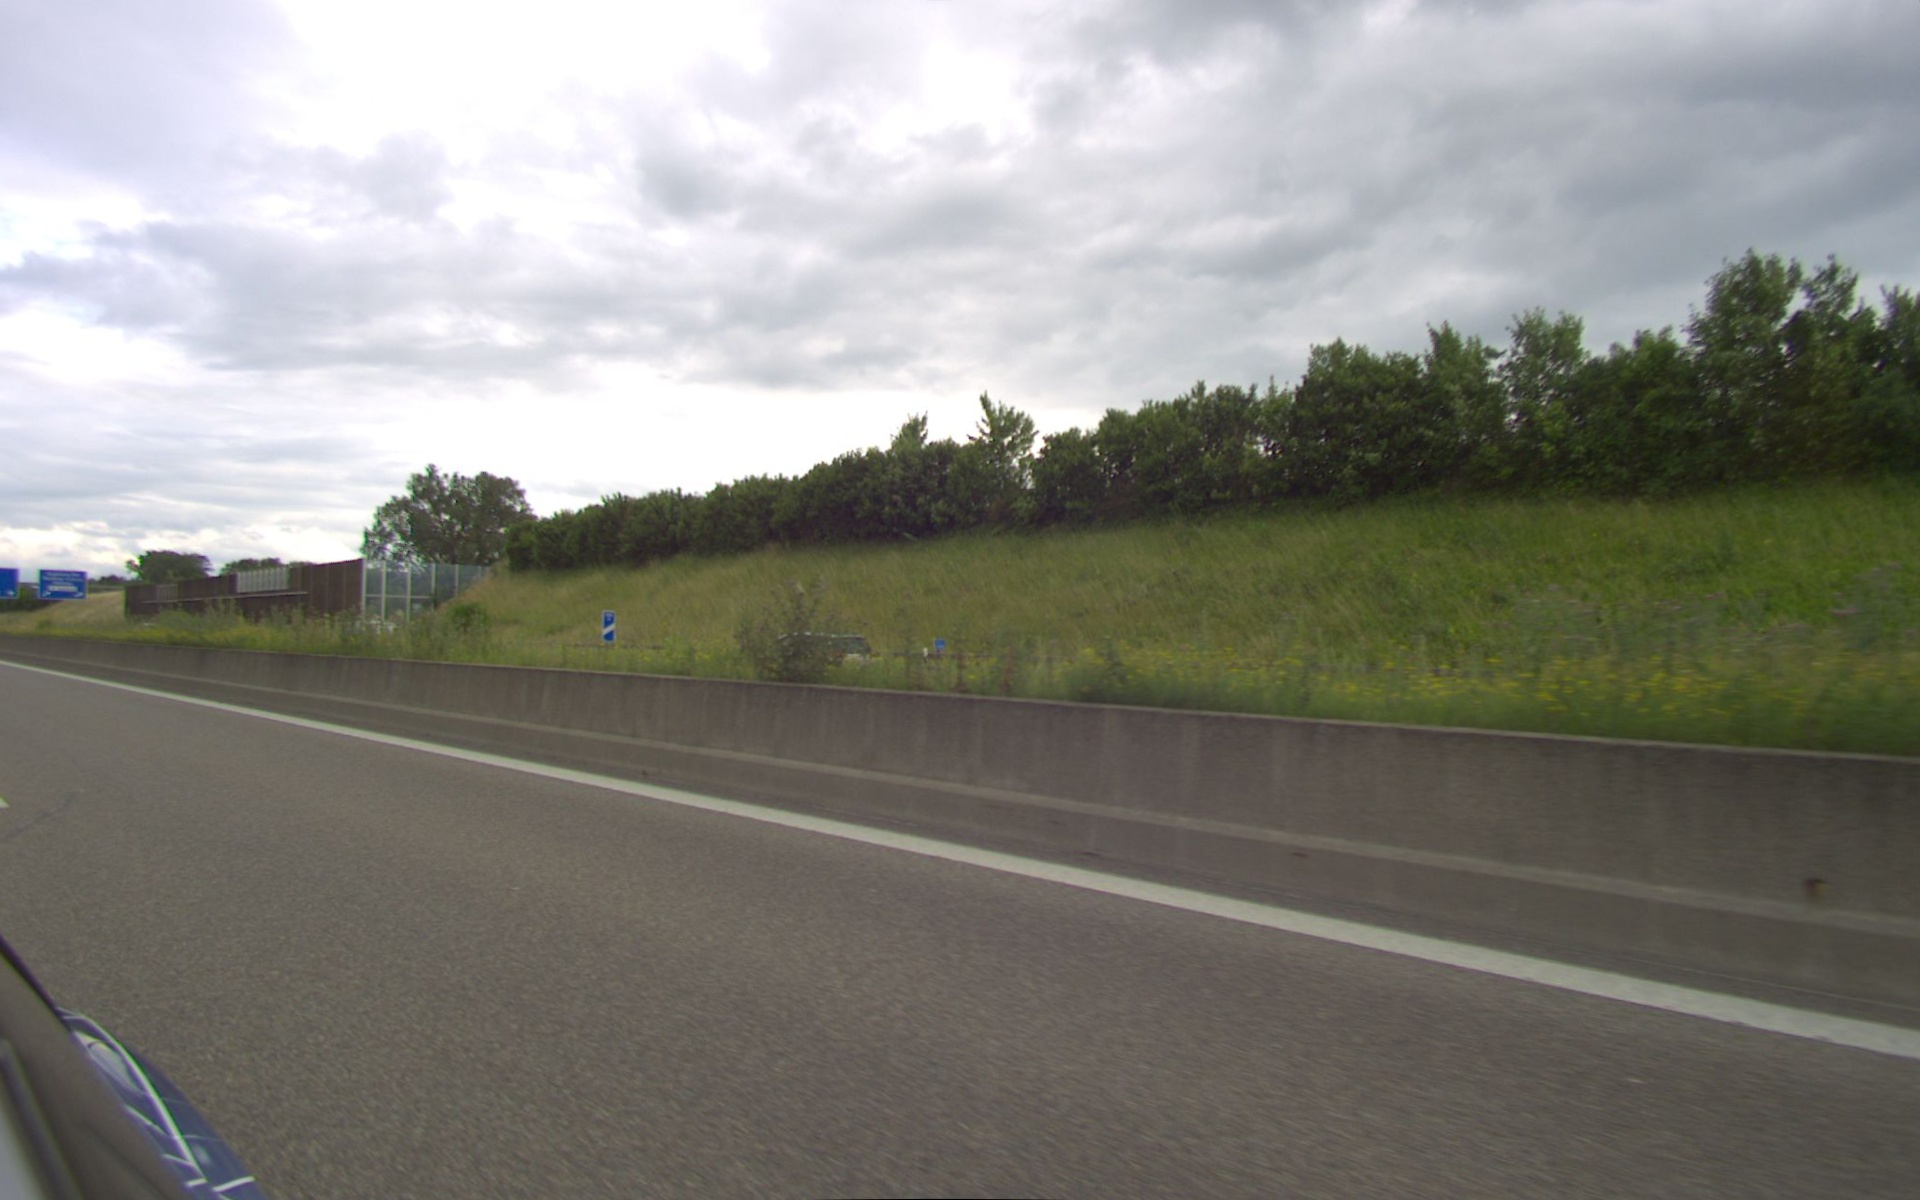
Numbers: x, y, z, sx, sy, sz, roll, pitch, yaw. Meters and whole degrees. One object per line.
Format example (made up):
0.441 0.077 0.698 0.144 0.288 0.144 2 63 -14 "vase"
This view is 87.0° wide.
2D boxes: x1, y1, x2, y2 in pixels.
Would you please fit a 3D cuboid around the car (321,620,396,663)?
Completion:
-25.949 1.760 43.617 4.118 1.770 1.582 -1 -3 42 "car"

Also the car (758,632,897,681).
-3.813 1.560 28.771 4.117 1.256 1.583 -1 -2 40 "car"
